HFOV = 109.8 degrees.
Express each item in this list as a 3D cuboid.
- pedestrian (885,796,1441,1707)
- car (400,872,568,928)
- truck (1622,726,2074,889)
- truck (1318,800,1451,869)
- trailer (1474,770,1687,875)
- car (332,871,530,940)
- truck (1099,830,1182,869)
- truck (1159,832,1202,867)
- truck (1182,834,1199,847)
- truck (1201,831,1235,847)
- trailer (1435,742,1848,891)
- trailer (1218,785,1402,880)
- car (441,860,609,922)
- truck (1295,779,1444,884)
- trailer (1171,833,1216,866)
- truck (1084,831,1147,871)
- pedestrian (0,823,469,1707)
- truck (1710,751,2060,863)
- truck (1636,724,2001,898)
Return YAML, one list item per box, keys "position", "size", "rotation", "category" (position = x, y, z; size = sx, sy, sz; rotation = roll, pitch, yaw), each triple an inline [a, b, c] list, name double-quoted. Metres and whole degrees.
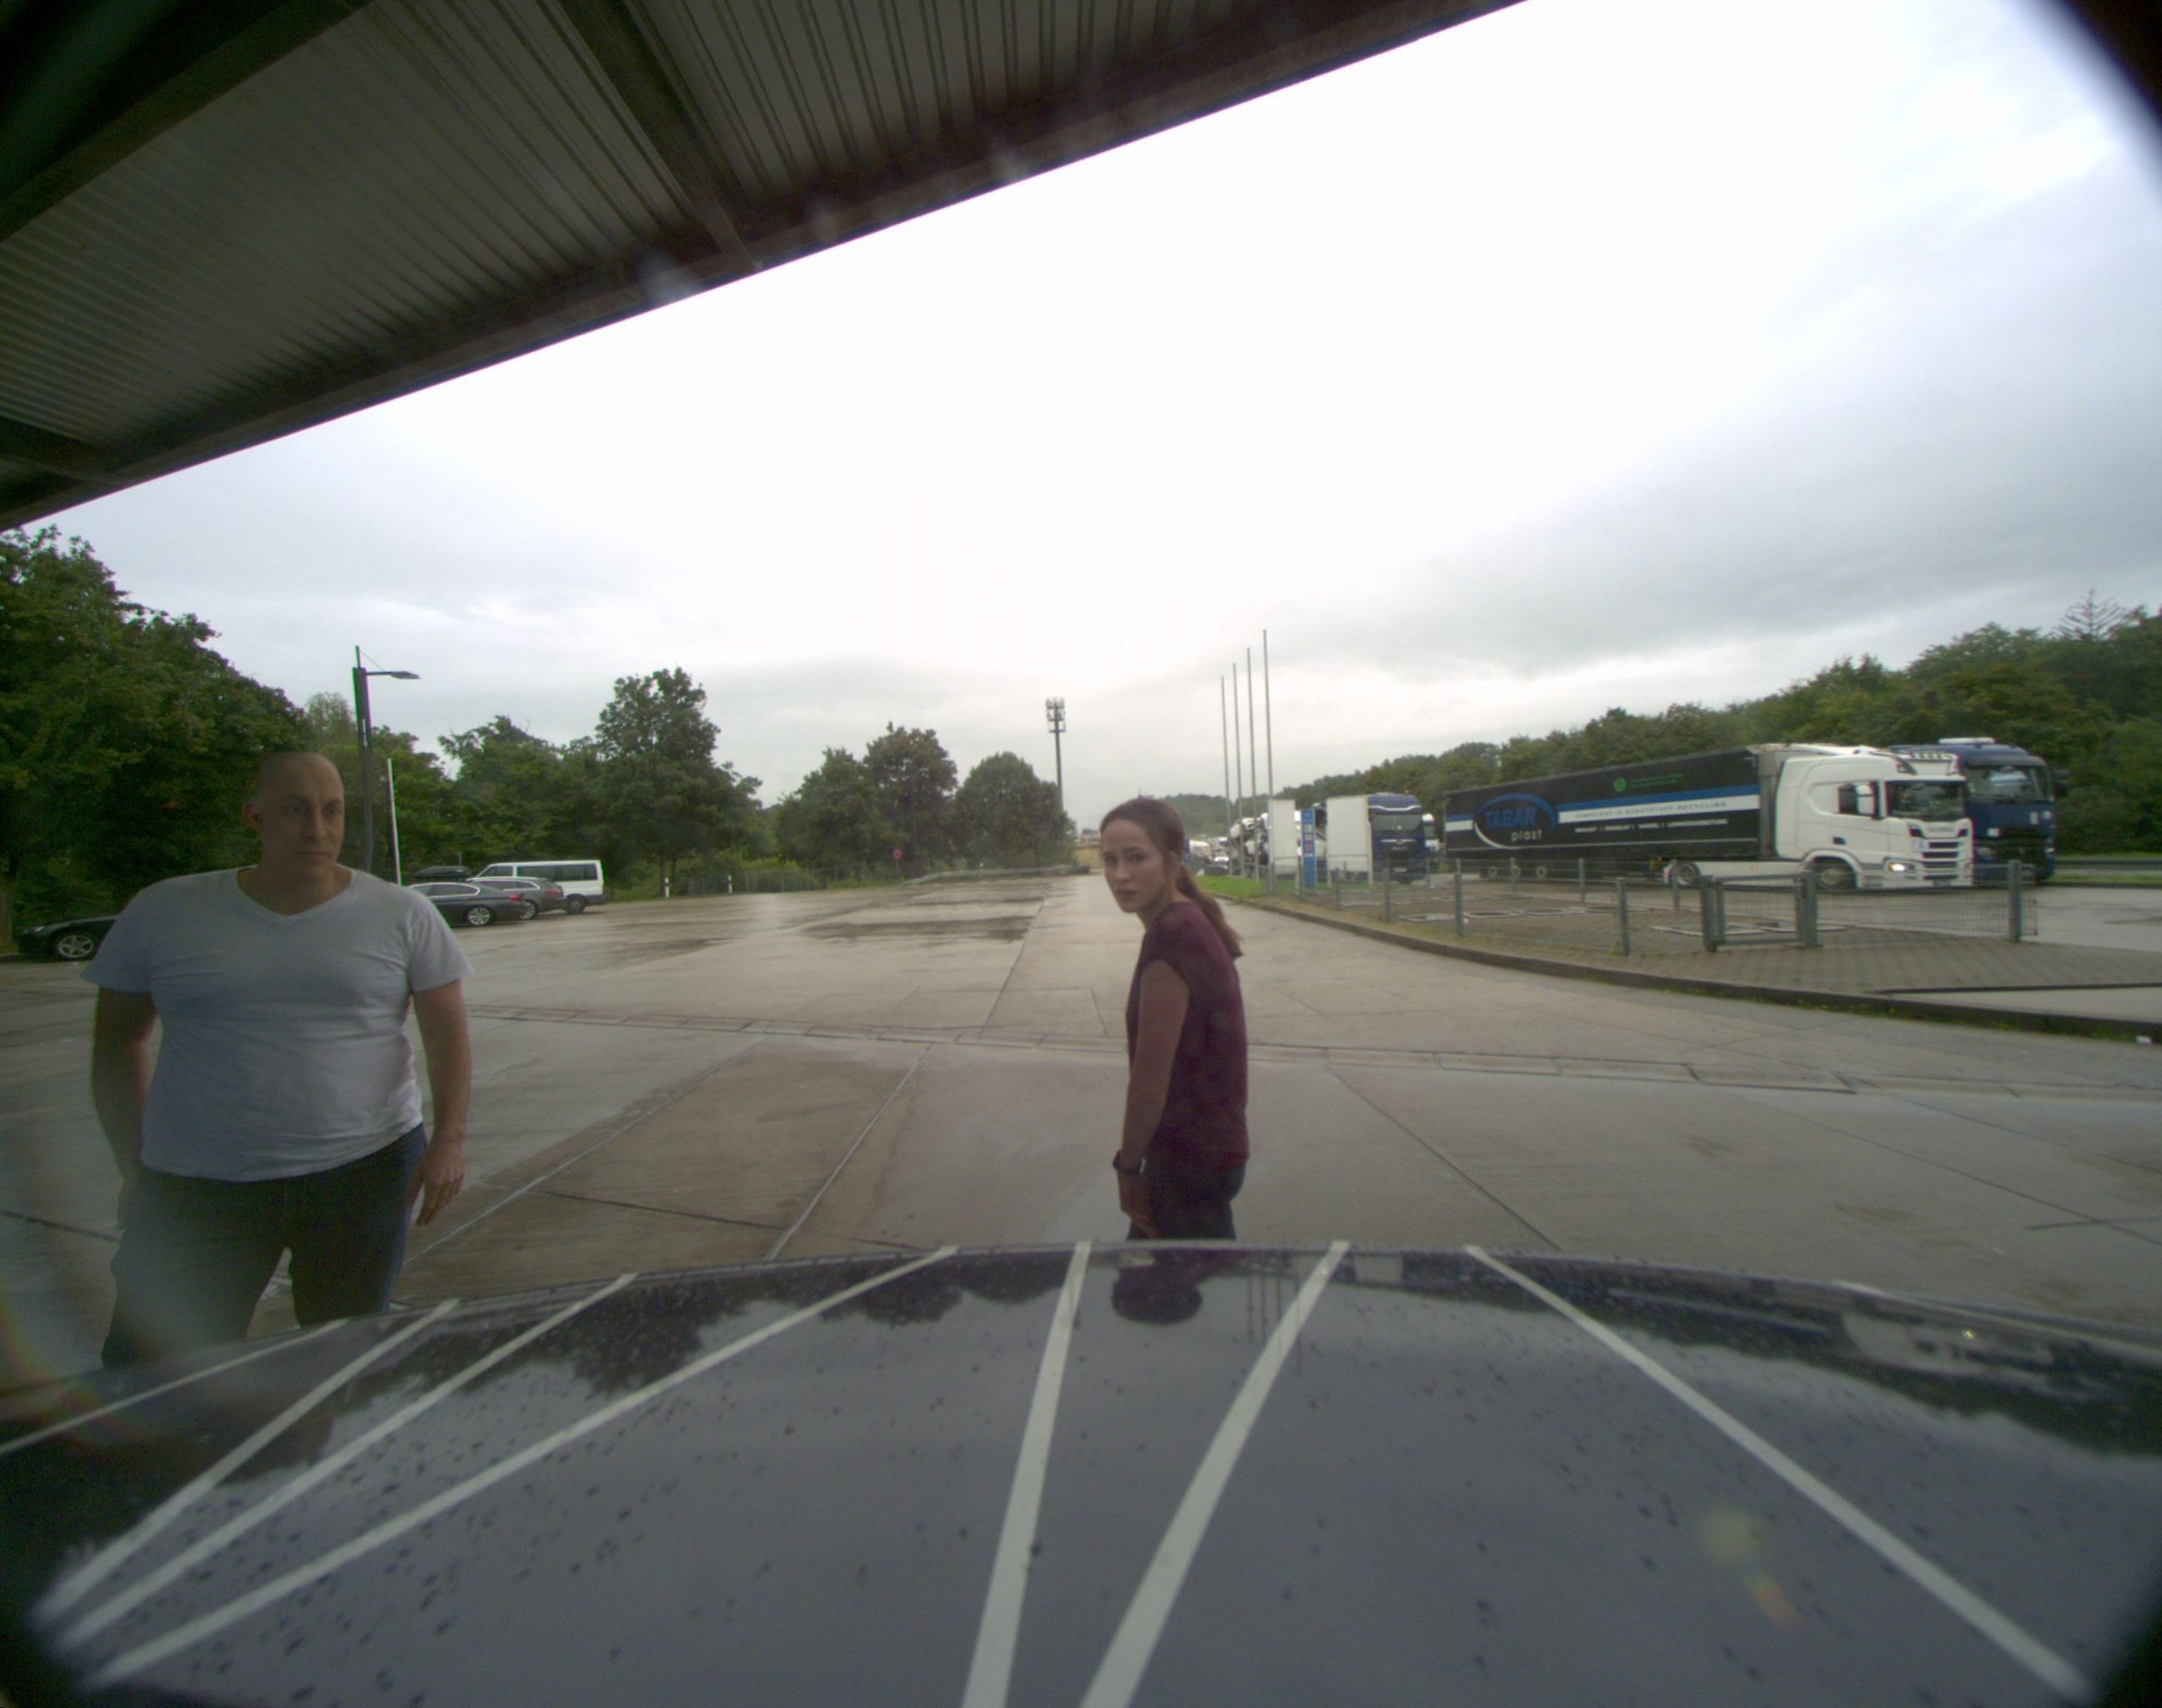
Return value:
- position: [0.128, 0.782, 1.545]
  size: [0.796, 1.724, 0.839]
  rotation: [-1, 1, -1]
  category: "pedestrian"
- position: [-19.656, 1.455, 25.298]
  size: [4.187, 1.547, 1.995]
  rotation: [-2, 0, -33]
  category: "car"
- position: [23.059, -1.212, 24.329]
  size: [2.774, 4.009, 10.632]
  rotation: [-2, 1, -8]
  category: "truck"
- position: [19.754, -1.218, 50.452]
  size: [2.991, 4.009, 10.464]
  rotation: [-2, 1, -10]
  category: "truck"
- position: [21.780, -1.272, 34.012]
  size: [2.774, 4.009, 8.853]
  rotation: [-2, 1, -8]
  category: "trailer"
- position: [-19.124, 1.451, 22.658]
  size: [4.187, 1.720, 1.995]
  rotation: [-2, 0, -33]
  category: "car"
- position: [6.192, -0.521, 76.368]
  size: [3.243, 3.544, 11.995]
  rotation: [-2, 1, 31]
  category: "truck"
- position: [11.319, -0.523, 85.753]
  size: [3.045, 3.745, 6.475]
  rotation: [-2, 1, 23]
  category: "truck"
- position: [30.427, -3.715, 210.861]
  size: [2.619, 3.458, 9.319]
  rotation: [-2, 1, -4]
  category: "truck"
- position: [32.771, -3.483, 182.813]
  size: [3.251, 3.543, 16.548]
  rotation: [-2, 1, -7]
  category: "truck"
- position: [18.628, -1.079, 27.644]
  size: [2.991, 4.009, 13.794]
  rotation: [-2, 1, -10]
  category: "trailer"
- position: [11.370, -0.997, 40.958]
  size: [2.990, 4.009, 16.597]
  rotation: [-2, 1, -7]
  category: "trailer"
- position: [-20.266, 1.283, 27.929]
  size: [4.780, 1.974, 2.010]
  rotation: [-2, 0, -36]
  category: "car"
- position: [12.300, -0.921, 33.267]
  size: [2.990, 4.009, 7.259]
  rotation: [-2, 1, -7]
  category: "truck"
- position: [13.659, -0.650, 91.461]
  size: [2.898, 3.618, 10.586]
  rotation: [-2, 1, 22]
  category: "trailer"
- position: [3.309, -0.354, 71.456]
  size: [3.243, 3.544, 6.114]
  rotation: [-2, 1, 31]
  category: "truck"
- position: [-1.764, 0.852, 1.574]
  size: [0.635, 1.800, 0.493]
  rotation: [-4, 3, -34]
  category: "pedestrian"
- position: [33.773, -1.762, 32.955]
  size: [2.991, 4.009, 10.464]
  rotation: [-2, 1, -10]
  category: "truck"
- position: [19.862, -1.053, 21.178]
  size: [2.992, 4.009, 6.734]
  rotation: [-2, 1, -12]
  category: "truck"
